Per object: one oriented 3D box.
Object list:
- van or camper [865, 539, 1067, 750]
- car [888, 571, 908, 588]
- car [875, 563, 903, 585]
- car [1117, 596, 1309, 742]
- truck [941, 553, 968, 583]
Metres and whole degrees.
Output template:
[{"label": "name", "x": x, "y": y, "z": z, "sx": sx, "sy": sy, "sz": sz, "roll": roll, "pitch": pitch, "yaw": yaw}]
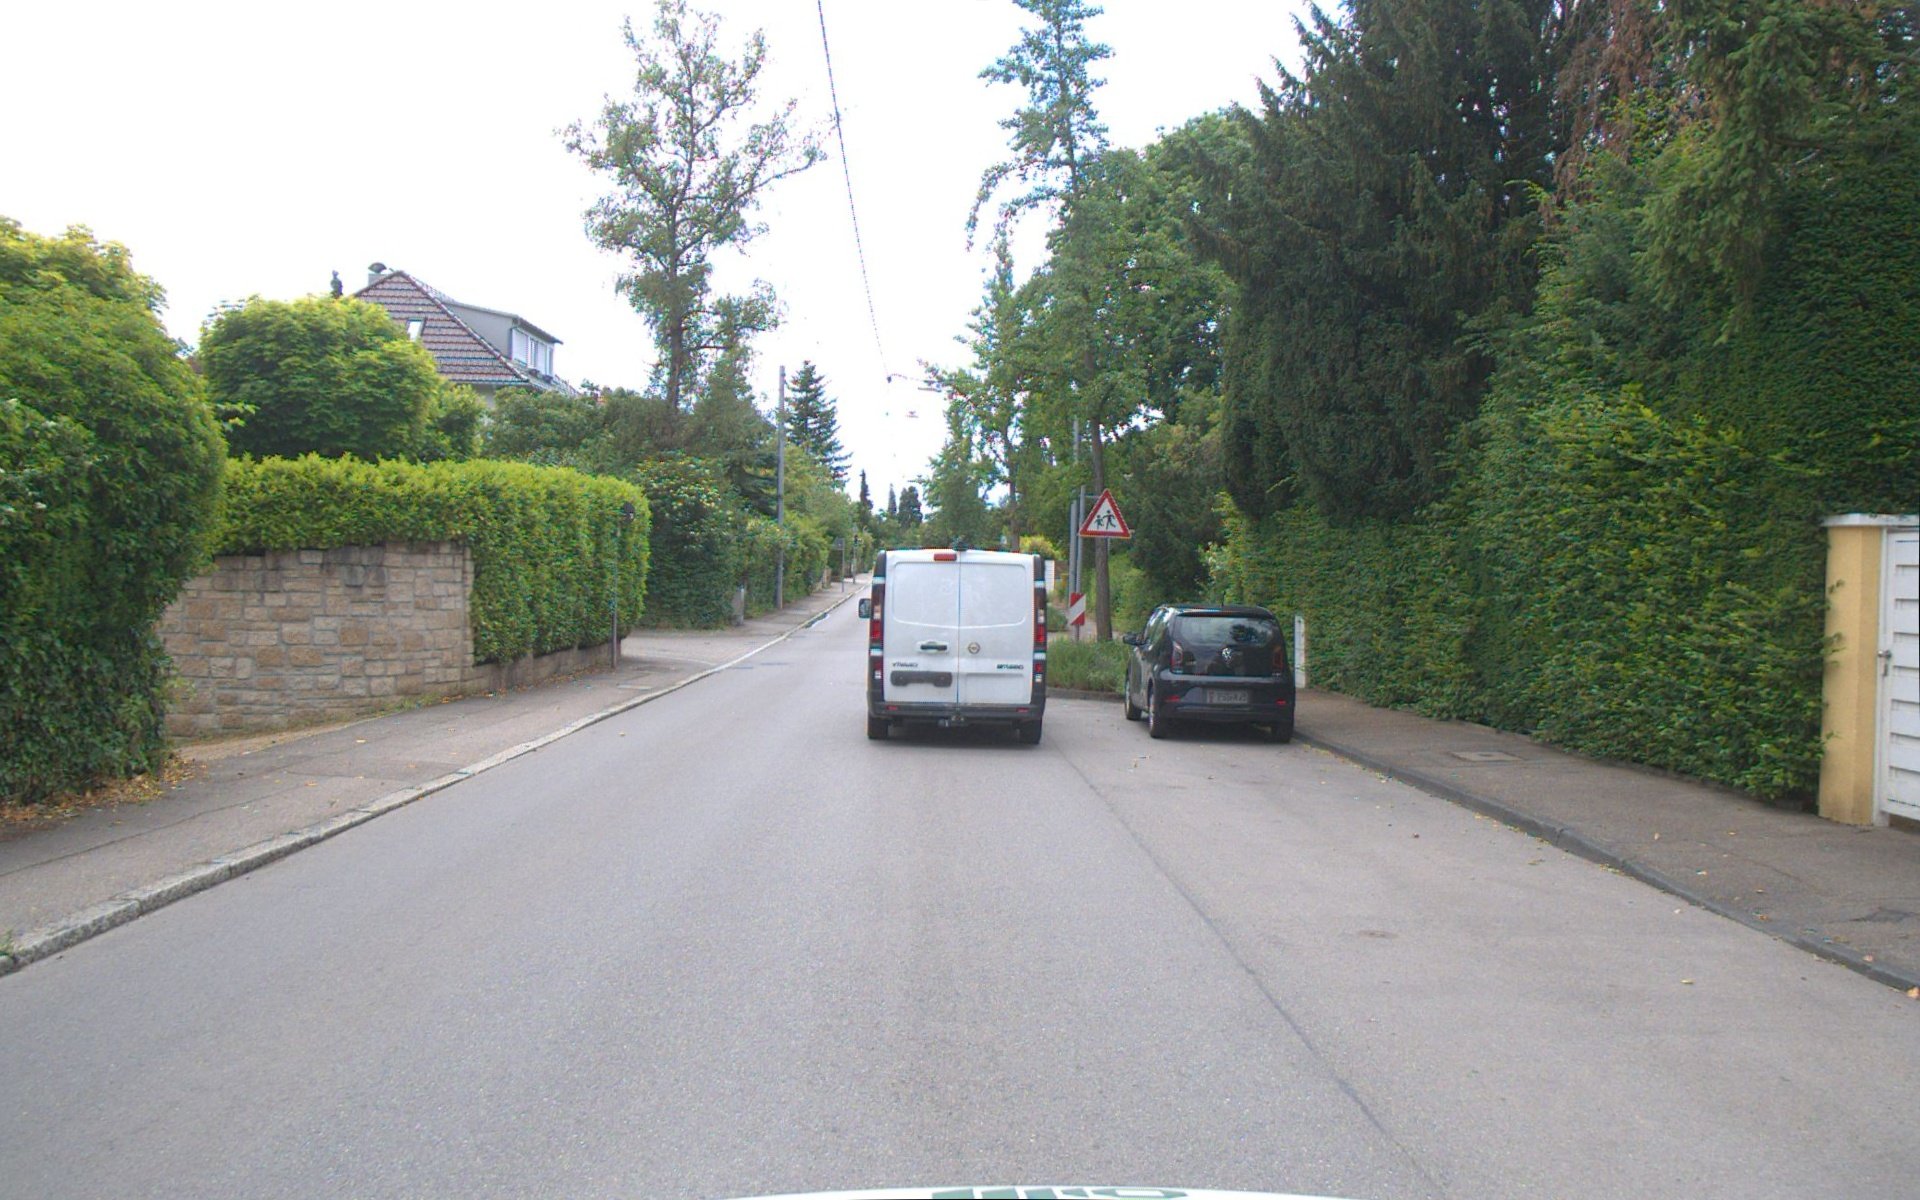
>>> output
[{"label": "van or camper", "x": -0.024, "y": 0.417, "z": 18.347, "sx": 1.900, "sy": 1.988, "sz": 4.763, "roll": 2, "pitch": 0, "yaw": -2}, {"label": "car", "x": -5.545, "y": -1.858, "z": 148.565, "sx": 1.769, "sy": 1.456, "sz": 4.116, "roll": -1, "pitch": 0, "yaw": -3}, {"label": "car", "x": -5.107, "y": -1.863, "z": 119.267, "sx": 1.768, "sy": 1.456, "sz": 4.301, "roll": -2, "pitch": 2, "yaw": 0}, {"label": "car", "x": 2.895, "y": 0.738, "z": 19.632, "sx": 1.590, "sy": 1.498, "sz": 3.739, "roll": 1, "pitch": 1, "yaw": -1}, {"label": "truck", "x": -0.543, "y": -2.928, "z": 149.557, "sx": 2.143, "sy": 2.514, "sz": 7.429, "roll": 2, "pitch": 1, "yaw": -2}]
